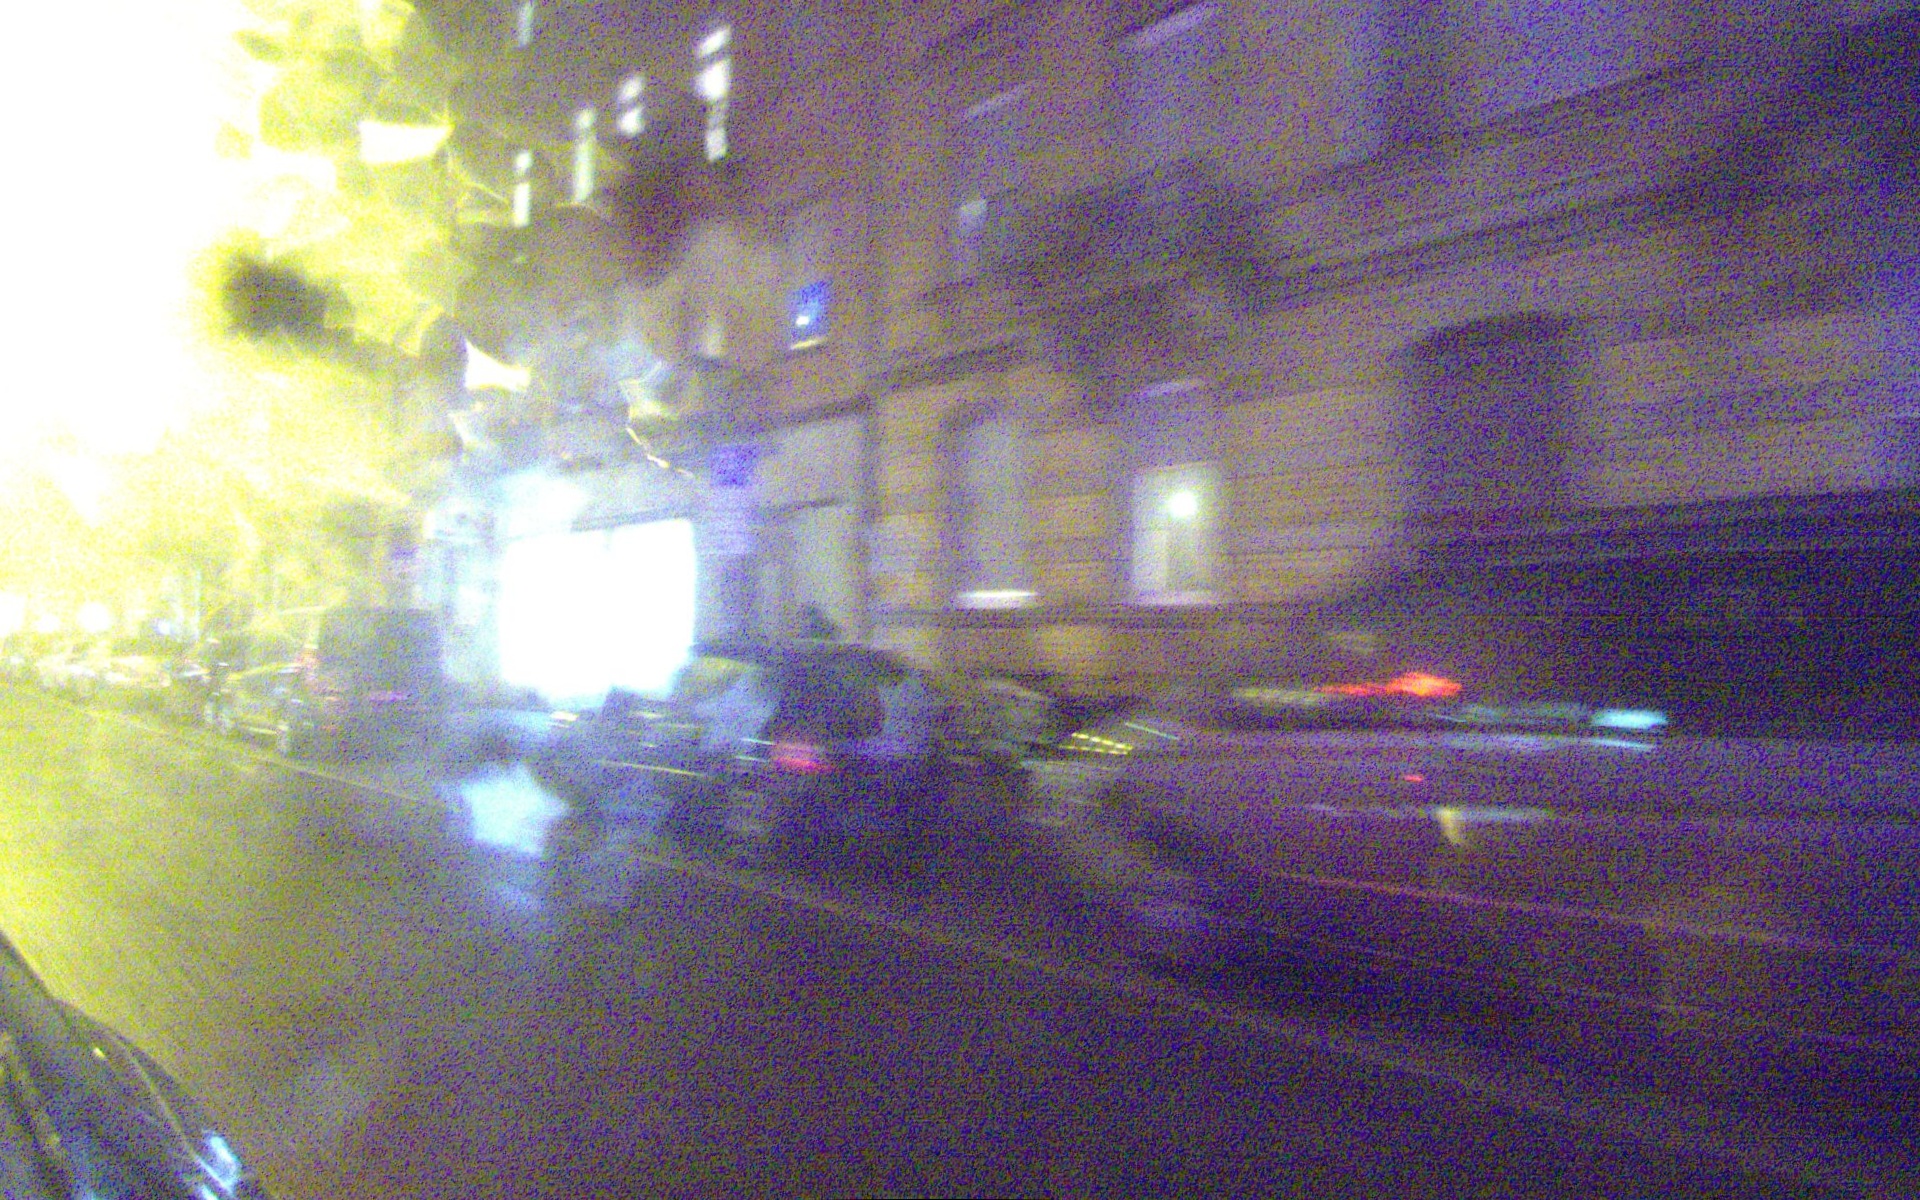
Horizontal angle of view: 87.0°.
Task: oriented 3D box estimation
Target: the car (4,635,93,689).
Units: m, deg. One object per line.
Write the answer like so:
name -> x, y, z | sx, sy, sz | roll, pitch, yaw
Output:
car -> -26.336, 1.738, 29.208 | 3.382, 1.465, 1.512 | -2, -3, 42

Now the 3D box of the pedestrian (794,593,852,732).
pedestrian -> -1.823, 0.837, 13.507 | 0.460, 1.802, 0.587 | -4, -6, 44

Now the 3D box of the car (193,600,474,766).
car -> -8.518, 1.008, 13.566 | 4.827, 1.843, 1.882 | -2, -3, 42

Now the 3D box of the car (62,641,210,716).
car -> -17.550, 1.583, 21.468 | 4.553, 1.402, 1.708 | -2, -3, 42

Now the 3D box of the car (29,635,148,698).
car -> -22.046, 1.627, 25.548 | 4.271, 1.465, 1.708 | -2, -3, 42

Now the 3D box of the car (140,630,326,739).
car -> -12.093, 1.310, 16.757 | 3.718, 1.587, 1.708 | -2, -3, 42

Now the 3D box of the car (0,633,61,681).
car -> -30.900, 1.887, 33.376 | 1.673, 1.490, 3.385 | 2, -4, -45

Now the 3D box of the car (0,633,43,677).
car -> -33.978, 1.982, 35.973 | 3.962, 1.490, 1.674 | -4, -4, 43

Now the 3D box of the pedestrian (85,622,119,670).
pedestrian -> -33.322, 1.779, 39.306 | 0.629, 1.801, 0.900 | -1, 0, 42

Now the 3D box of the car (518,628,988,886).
car -> -1.708, 0.962, 7.618 | 3.718, 1.471, 1.552 | -2, -3, 42

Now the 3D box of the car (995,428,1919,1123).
car -> 2.756, 0.501, 3.833 | 5.204, 1.843, 1.975 | -2, -3, 42
